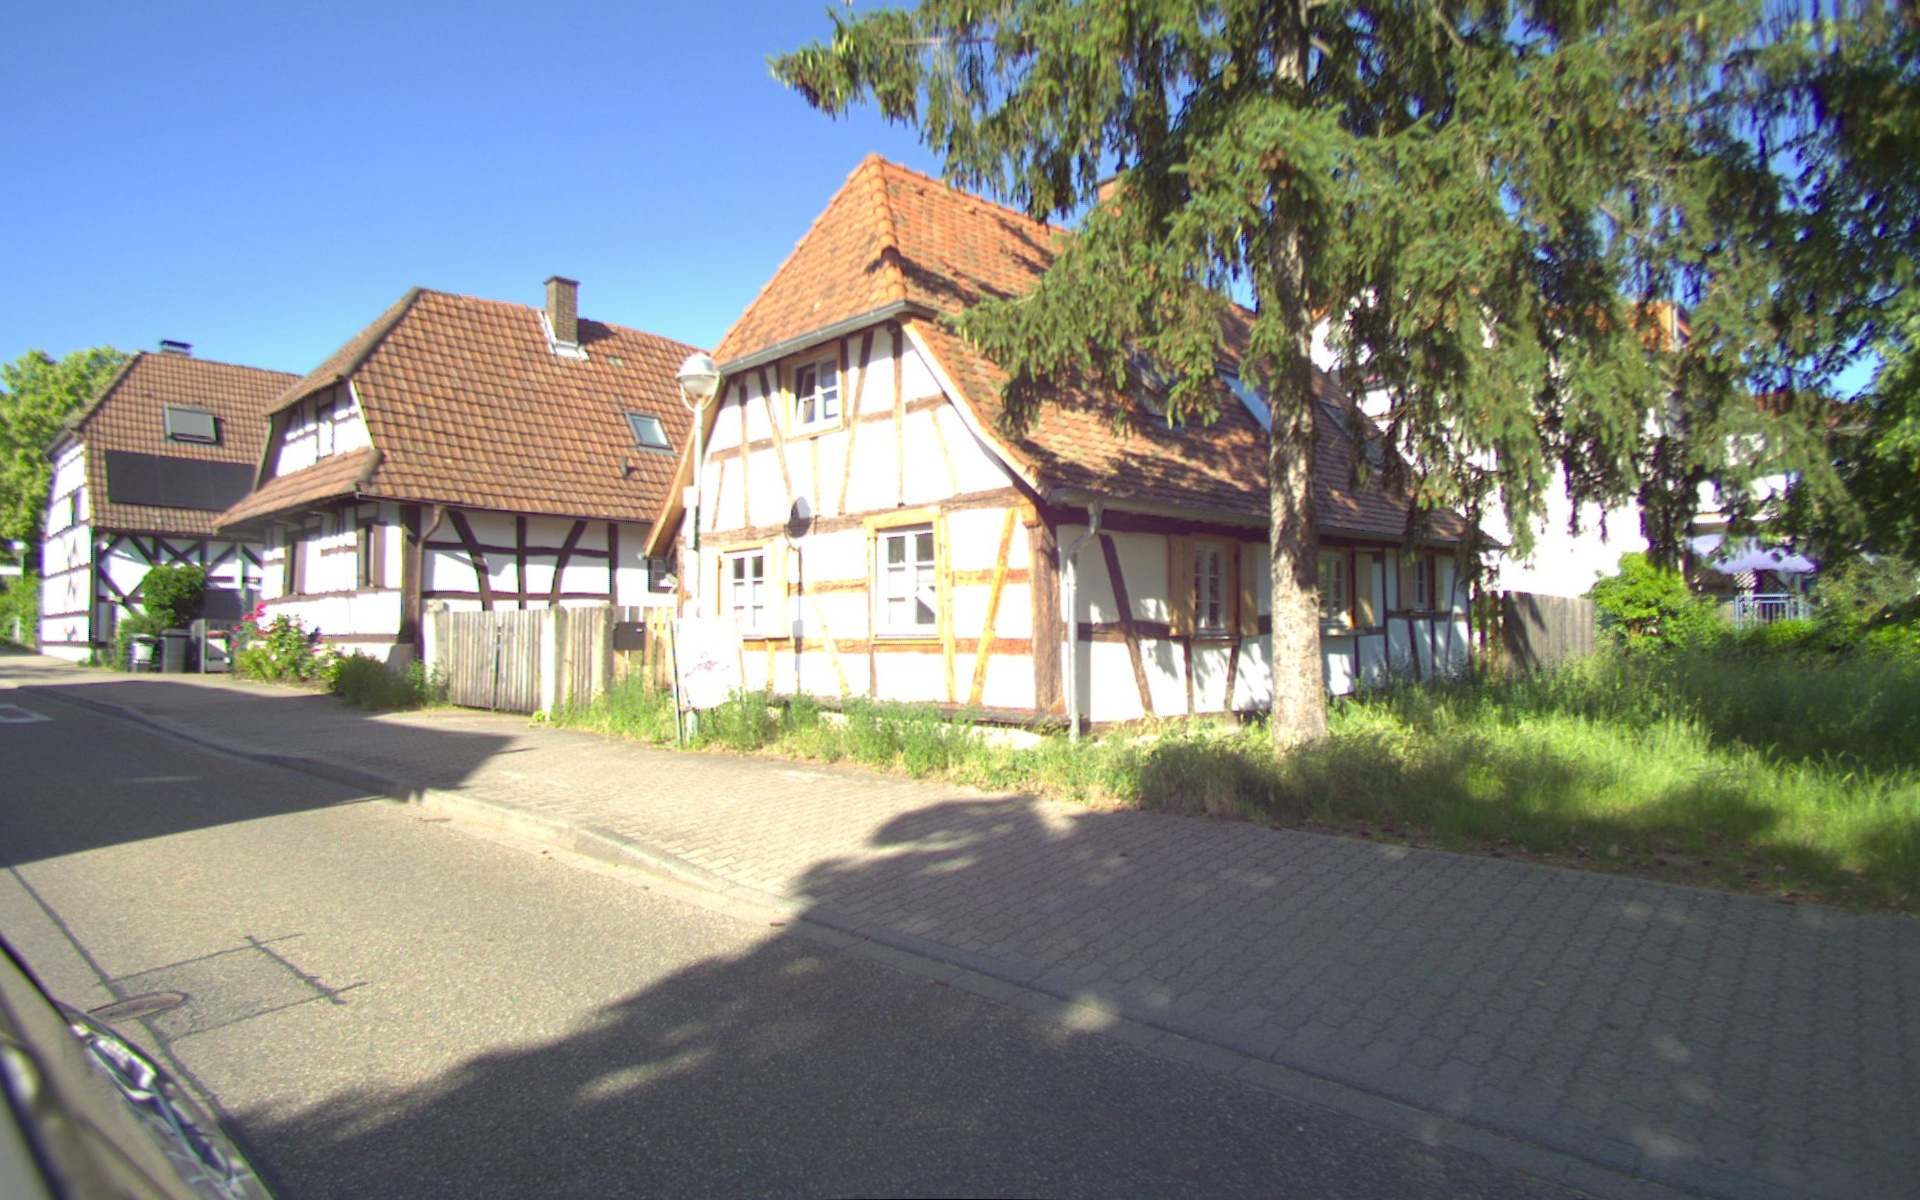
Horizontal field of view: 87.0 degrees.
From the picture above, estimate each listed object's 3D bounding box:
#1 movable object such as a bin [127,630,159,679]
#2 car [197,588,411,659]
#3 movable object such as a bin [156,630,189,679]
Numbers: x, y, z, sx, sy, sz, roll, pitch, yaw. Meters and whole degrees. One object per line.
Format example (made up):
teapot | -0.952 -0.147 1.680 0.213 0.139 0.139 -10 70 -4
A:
movable object such as a bin | -19.564 1.301 24.233 0.667 1.149 0.471 0 -2 41
car | -16.191 0.614 25.134 1.818 1.604 4.061 1 -2 41
movable object such as a bin | -19.199 1.318 24.672 0.667 1.149 0.471 0 -2 41
